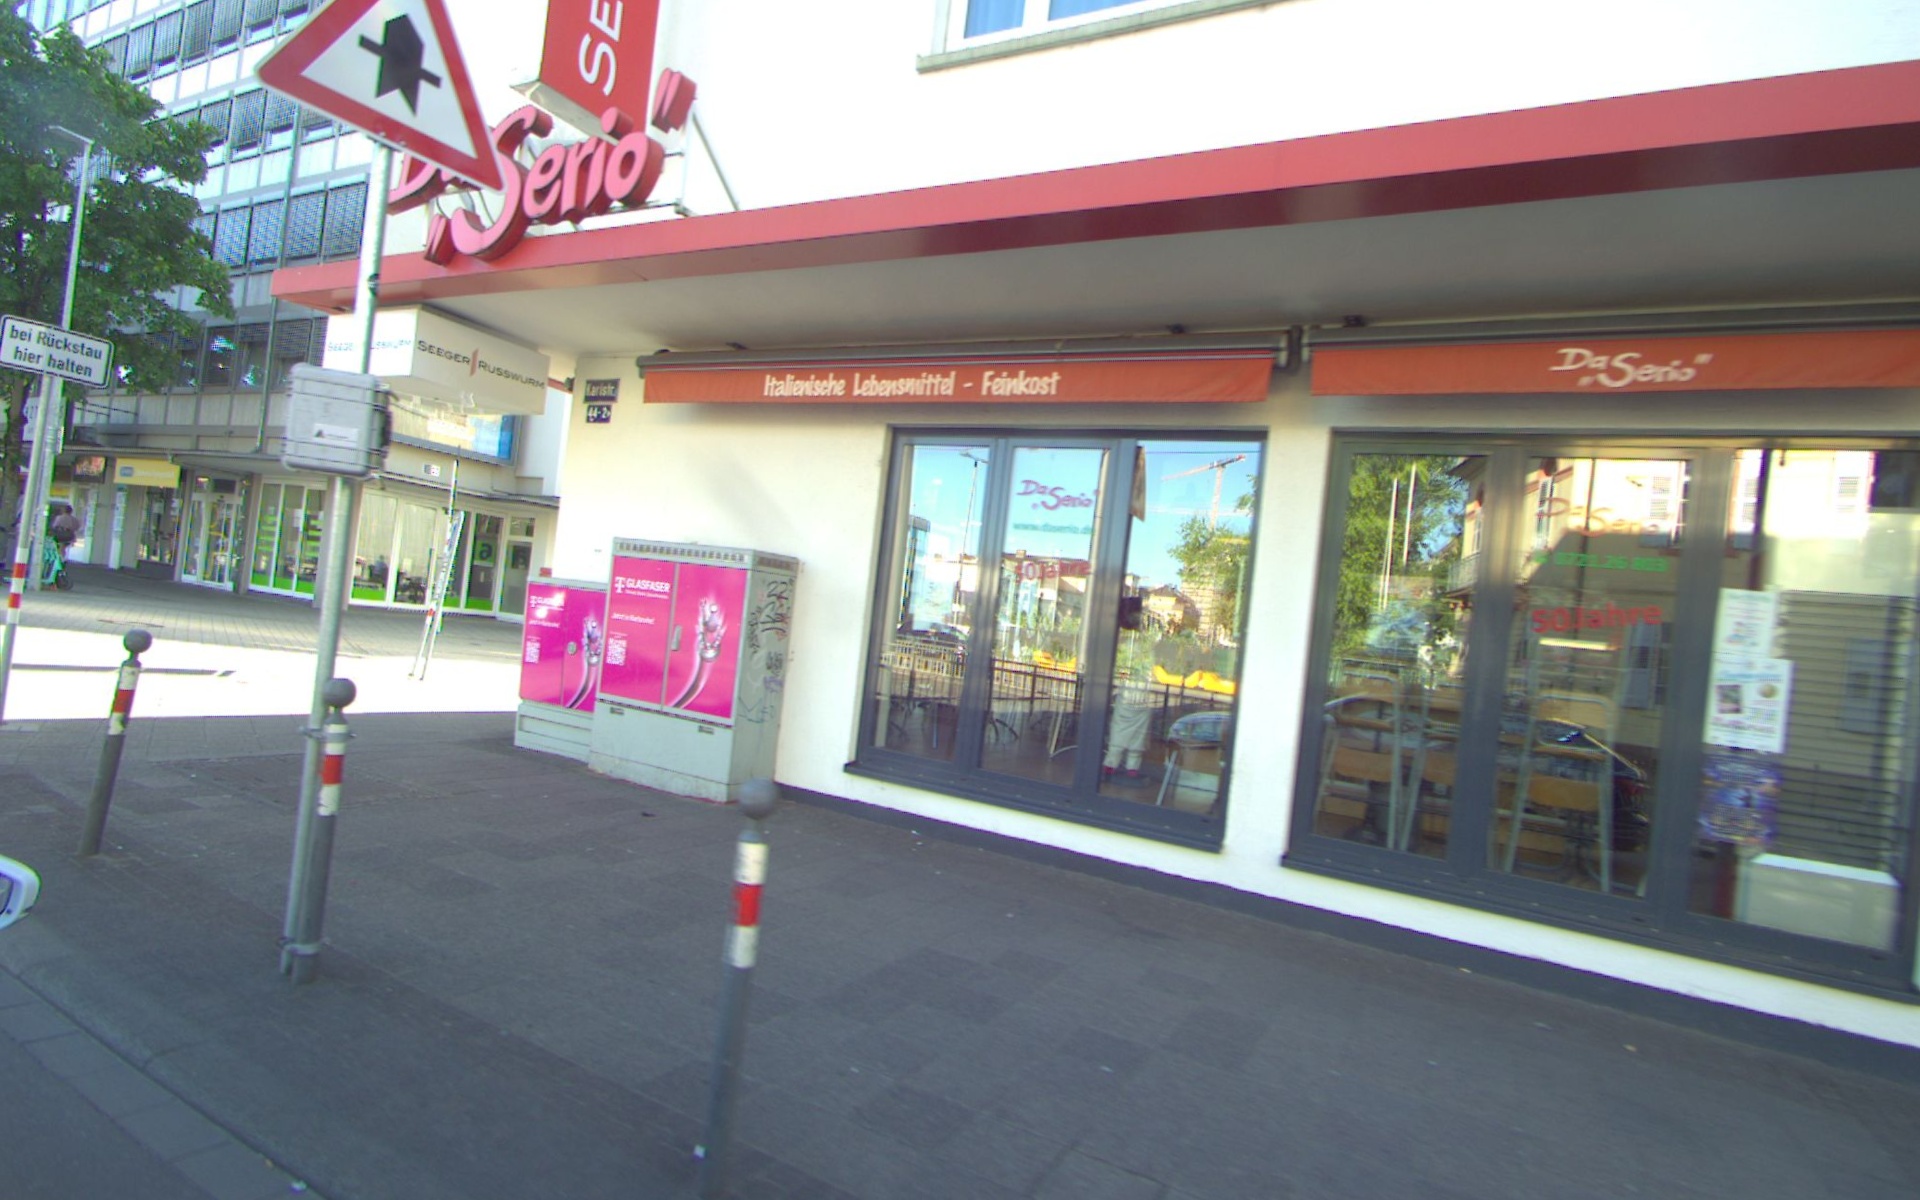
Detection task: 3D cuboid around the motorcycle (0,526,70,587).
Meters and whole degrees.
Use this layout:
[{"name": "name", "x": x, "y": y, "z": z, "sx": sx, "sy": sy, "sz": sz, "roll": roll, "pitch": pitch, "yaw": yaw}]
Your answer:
[{"name": "motorcycle", "x": -20.252, "y": -0.972, "z": 21.418, "sx": 0.495, "sy": 1.142, "sz": 1.791, "roll": 6, "pitch": -2, "yaw": 29}]

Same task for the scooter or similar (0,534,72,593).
[{"name": "scooter or similar", "x": -18.376, "y": -0.715, "z": 20.019, "sx": 0.157, "sy": 1.055, "sz": 0.964, "roll": 7, "pitch": -1, "yaw": 34}]

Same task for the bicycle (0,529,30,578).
[{"name": "bicycle", "x": -21.929, "y": -1.098, "z": 22.318, "sx": 0.392, "sy": 1.069, "sz": 1.856, "roll": 6, "pitch": 0, "yaw": 20}]

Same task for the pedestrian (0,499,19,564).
[{"name": "pedestrian", "x": -26.638, "y": -1.932, "z": 27.589, "sx": 0.865, "sy": 1.727, "sz": 0.844, "roll": 6, "pitch": -2, "yaw": 31}]

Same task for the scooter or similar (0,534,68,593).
[{"name": "scooter or similar", "x": -18.539, "y": -0.718, "z": 20.127, "sx": 0.157, "sy": 1.051, "sz": 0.957, "roll": 7, "pitch": -1, "yaw": 34}]

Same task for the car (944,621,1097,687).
[{"name": "car", "x": 2.011, "y": 1.770, "z": 32.555, "sx": 4.791, "sy": 1.450, "sz": 1.861, "roll": 9, "pitch": 1, "yaw": -38}]

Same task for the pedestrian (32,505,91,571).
[{"name": "pedestrian", "x": -24.431, "y": -1.678, "z": 27.360, "sx": 0.865, "sy": 1.621, "sz": 0.844, "roll": 6, "pitch": -2, "yaw": 31}]
